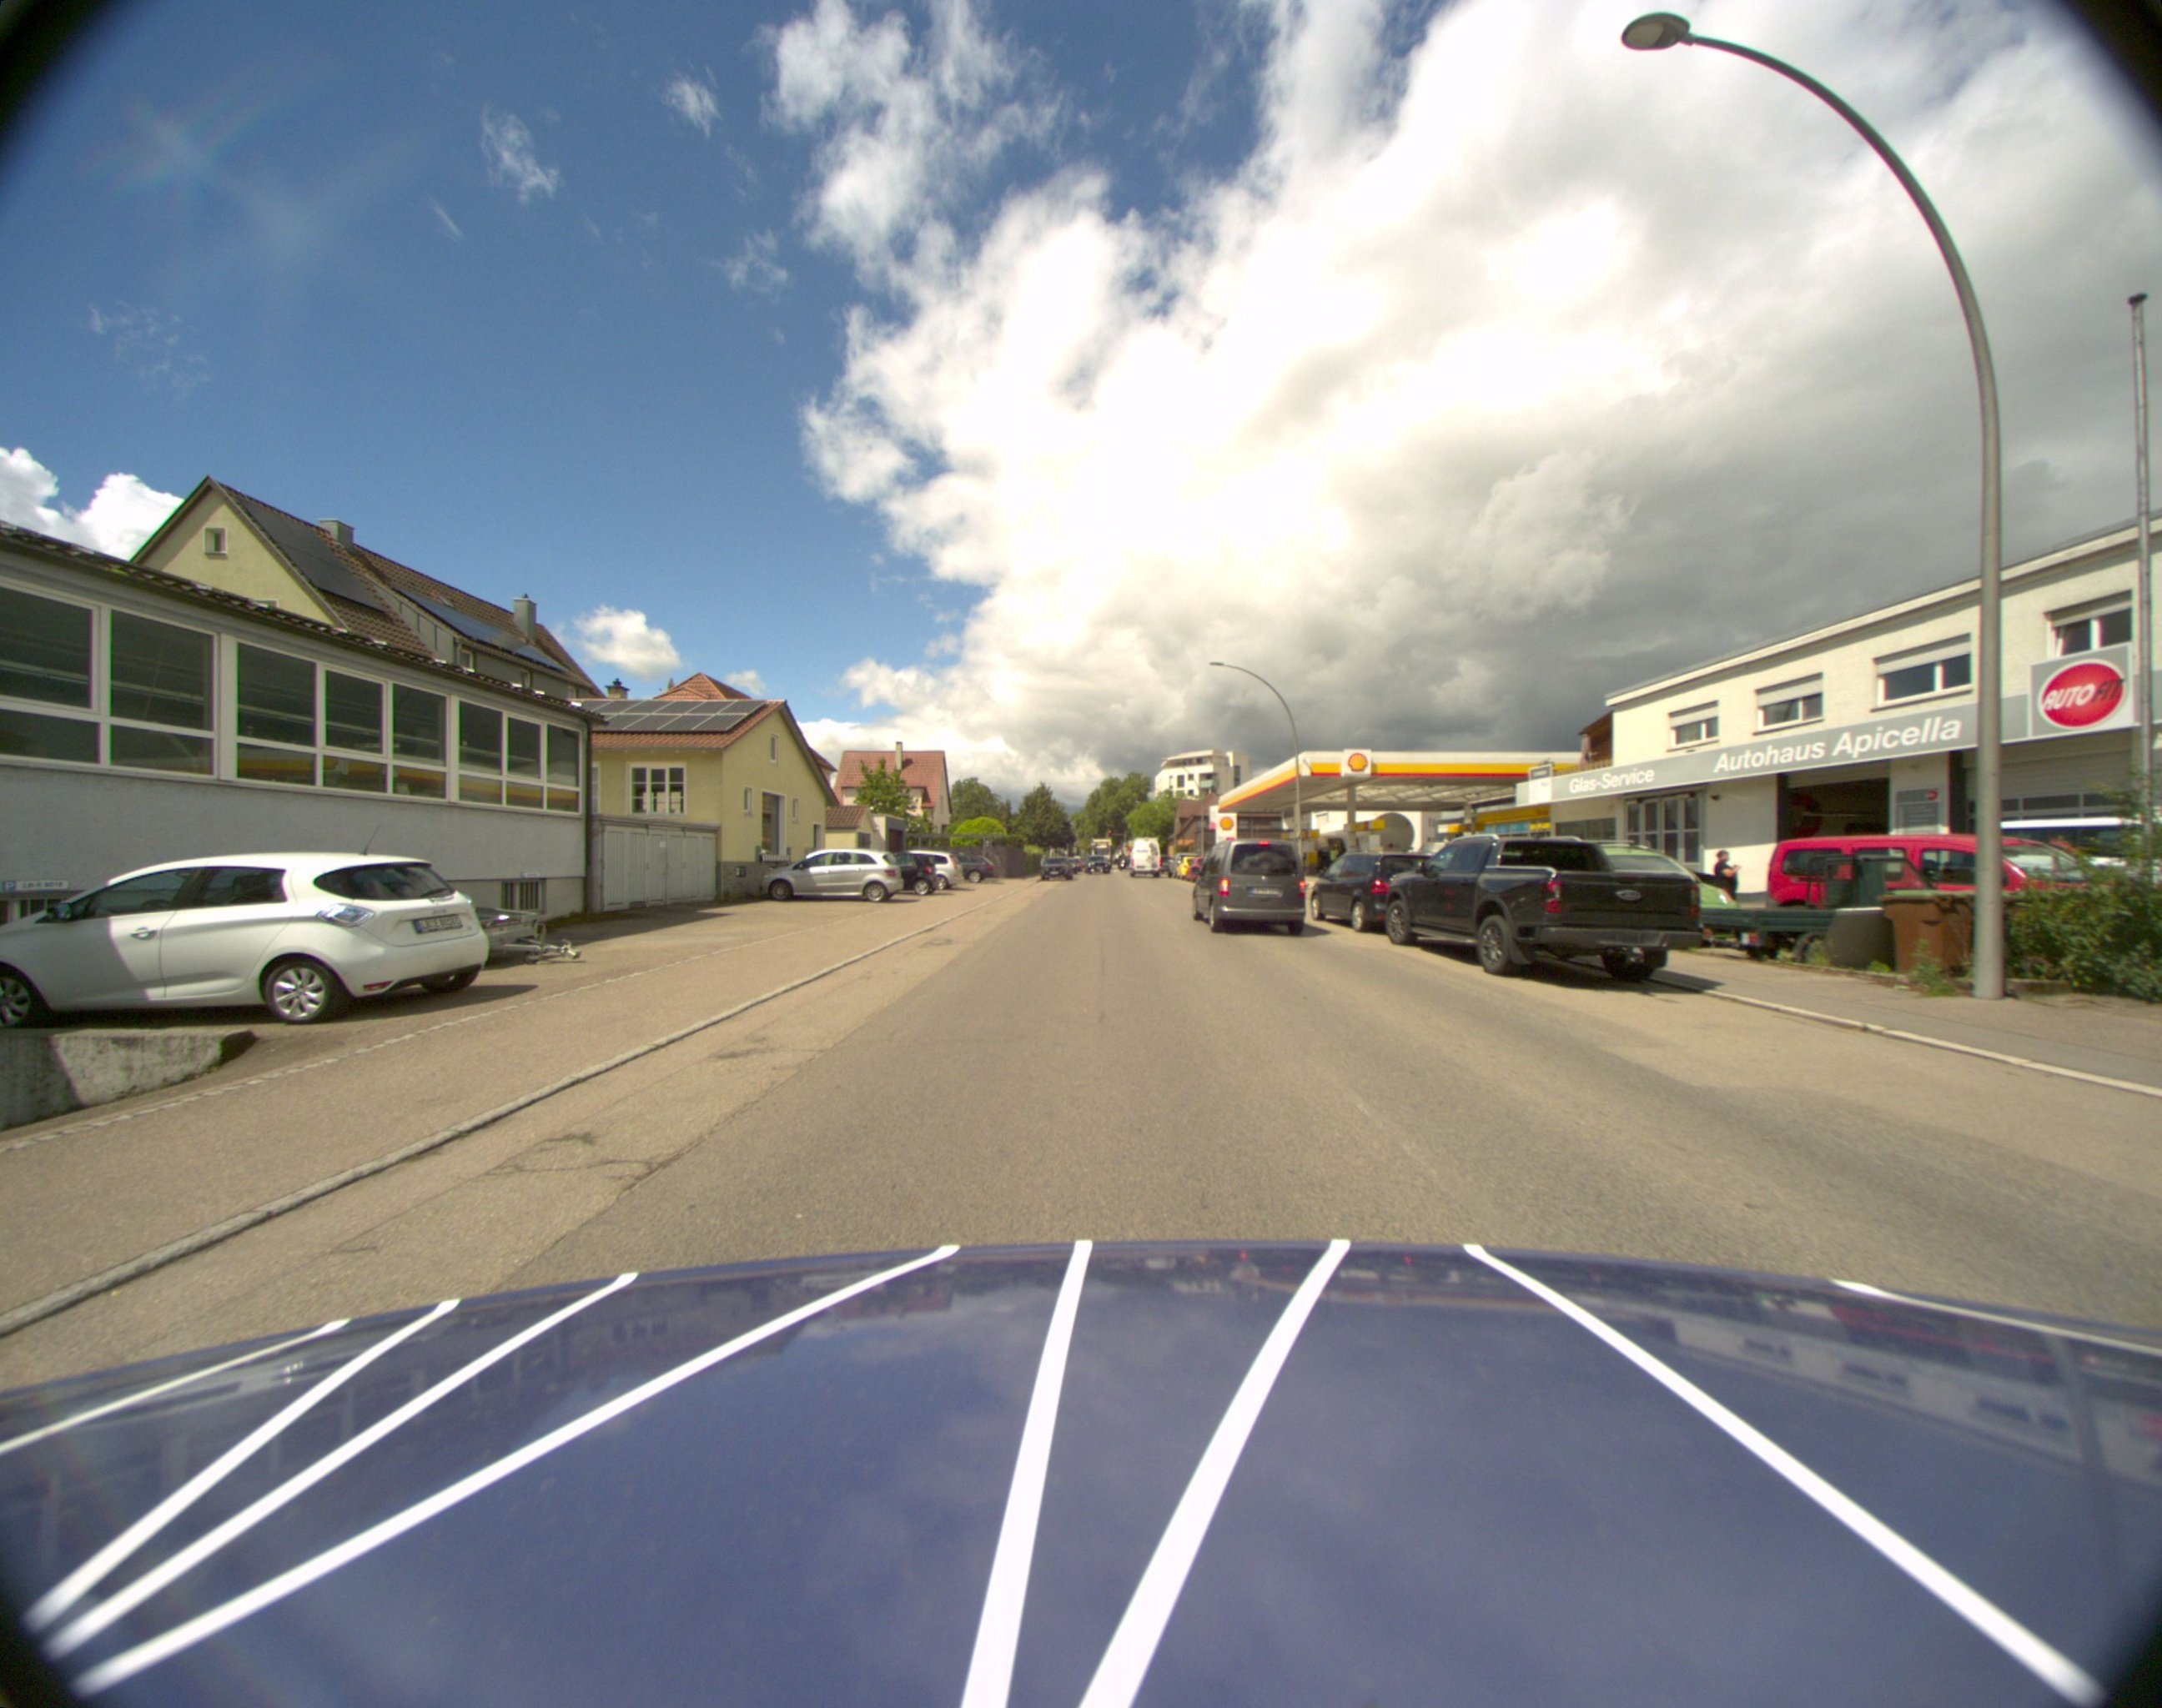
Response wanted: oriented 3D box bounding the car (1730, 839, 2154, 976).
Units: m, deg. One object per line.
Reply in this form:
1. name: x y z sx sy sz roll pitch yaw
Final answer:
1. car: 13.658 0.689 12.535 1.798 1.775 4.334 -3 2 -9

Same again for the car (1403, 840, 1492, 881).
1. car: 17.592 0.259 36.338 4.993 1.842 1.970 -1 1 -40

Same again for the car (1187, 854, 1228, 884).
1. car: 7.169 0.808 43.389 1.666 1.506 4.190 4 0 1

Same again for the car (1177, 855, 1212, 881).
1. car: 7.172 0.847 48.330 1.666 1.506 3.945 4 0 2

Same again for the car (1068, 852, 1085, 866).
1. car: -0.542 0.570 87.916 1.789 1.555 3.879 -1 1 2

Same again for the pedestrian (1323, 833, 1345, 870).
1. pedestrian: 15.236 -0.168 45.787 0.940 2.166 1.011 -2 1 0

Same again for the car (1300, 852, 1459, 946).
1. car: 6.190 0.830 16.340 1.666 1.670 4.526 2 0 1

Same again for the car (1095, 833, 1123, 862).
1. car: 3.574 -0.868 100.160 3.262 3.596 10.267 -1 1 0

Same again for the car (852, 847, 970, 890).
1. car: -7.021 0.580 31.690 4.418 1.516 1.974 3 1 -2

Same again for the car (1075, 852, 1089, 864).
1. car: 0.205 0.555 103.997 1.789 1.555 3.879 -1 1 2

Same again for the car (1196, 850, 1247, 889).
1. car: 6.924 0.717 37.774 1.733 1.727 4.190 4 0 1

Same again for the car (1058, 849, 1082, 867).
1. car: -0.935 0.320 64.655 1.788 1.436 3.772 -1 1 2

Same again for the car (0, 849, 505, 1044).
1. car: -8.284 0.807 7.423 3.909 1.599 1.749 -2 1 0

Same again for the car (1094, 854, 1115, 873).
1. car: 2.043 0.811 67.401 1.789 1.555 3.879 -1 1 2

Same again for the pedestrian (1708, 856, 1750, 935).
1. pedestrian: 13.061 0.831 15.323 0.413 1.549 0.493 -2 1 1

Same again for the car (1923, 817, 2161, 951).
1. car: 16.704 0.416 11.900 1.883 1.969 4.332 -2 2 -13

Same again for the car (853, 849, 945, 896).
1. car: -6.660 0.646 28.052 2.895 1.516 1.974 3 1 -2

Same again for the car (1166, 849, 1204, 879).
1. car: 7.182 0.648 52.815 1.789 1.857 4.315 4 0 -2

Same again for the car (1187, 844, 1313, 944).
1. car: 3.356 0.715 15.918 1.667 1.785 4.338 1 0 0

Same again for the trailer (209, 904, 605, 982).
1. trailer: -8.811 1.154 10.181 3.826 0.803 1.656 1 0 0

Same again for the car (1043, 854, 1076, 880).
1. car: -1.340 0.780 48.995 1.788 1.548 4.316 -1 1 2

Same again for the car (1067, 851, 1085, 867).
1. car: -0.534 0.535 81.685 1.789 1.555 3.879 -1 1 2

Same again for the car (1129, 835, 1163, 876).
1. car: 4.634 0.059 54.897 1.997 2.749 6.164 1 0 1

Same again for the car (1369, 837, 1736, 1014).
1. car: 6.173 0.768 11.011 1.915 1.811 5.429 4 0 1

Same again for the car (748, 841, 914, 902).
1. car: -7.591 0.508 23.423 4.418 1.599 1.974 3 1 -2

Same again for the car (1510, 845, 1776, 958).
1. car: 10.180 0.743 14.272 1.796 1.775 4.338 -1 0 0

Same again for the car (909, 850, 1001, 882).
1. car: -6.536 0.620 39.810 4.418 1.399 1.974 3 1 -2

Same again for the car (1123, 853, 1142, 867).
1. car: 5.482 0.603 80.917 1.852 1.465 3.981 1 0 1
